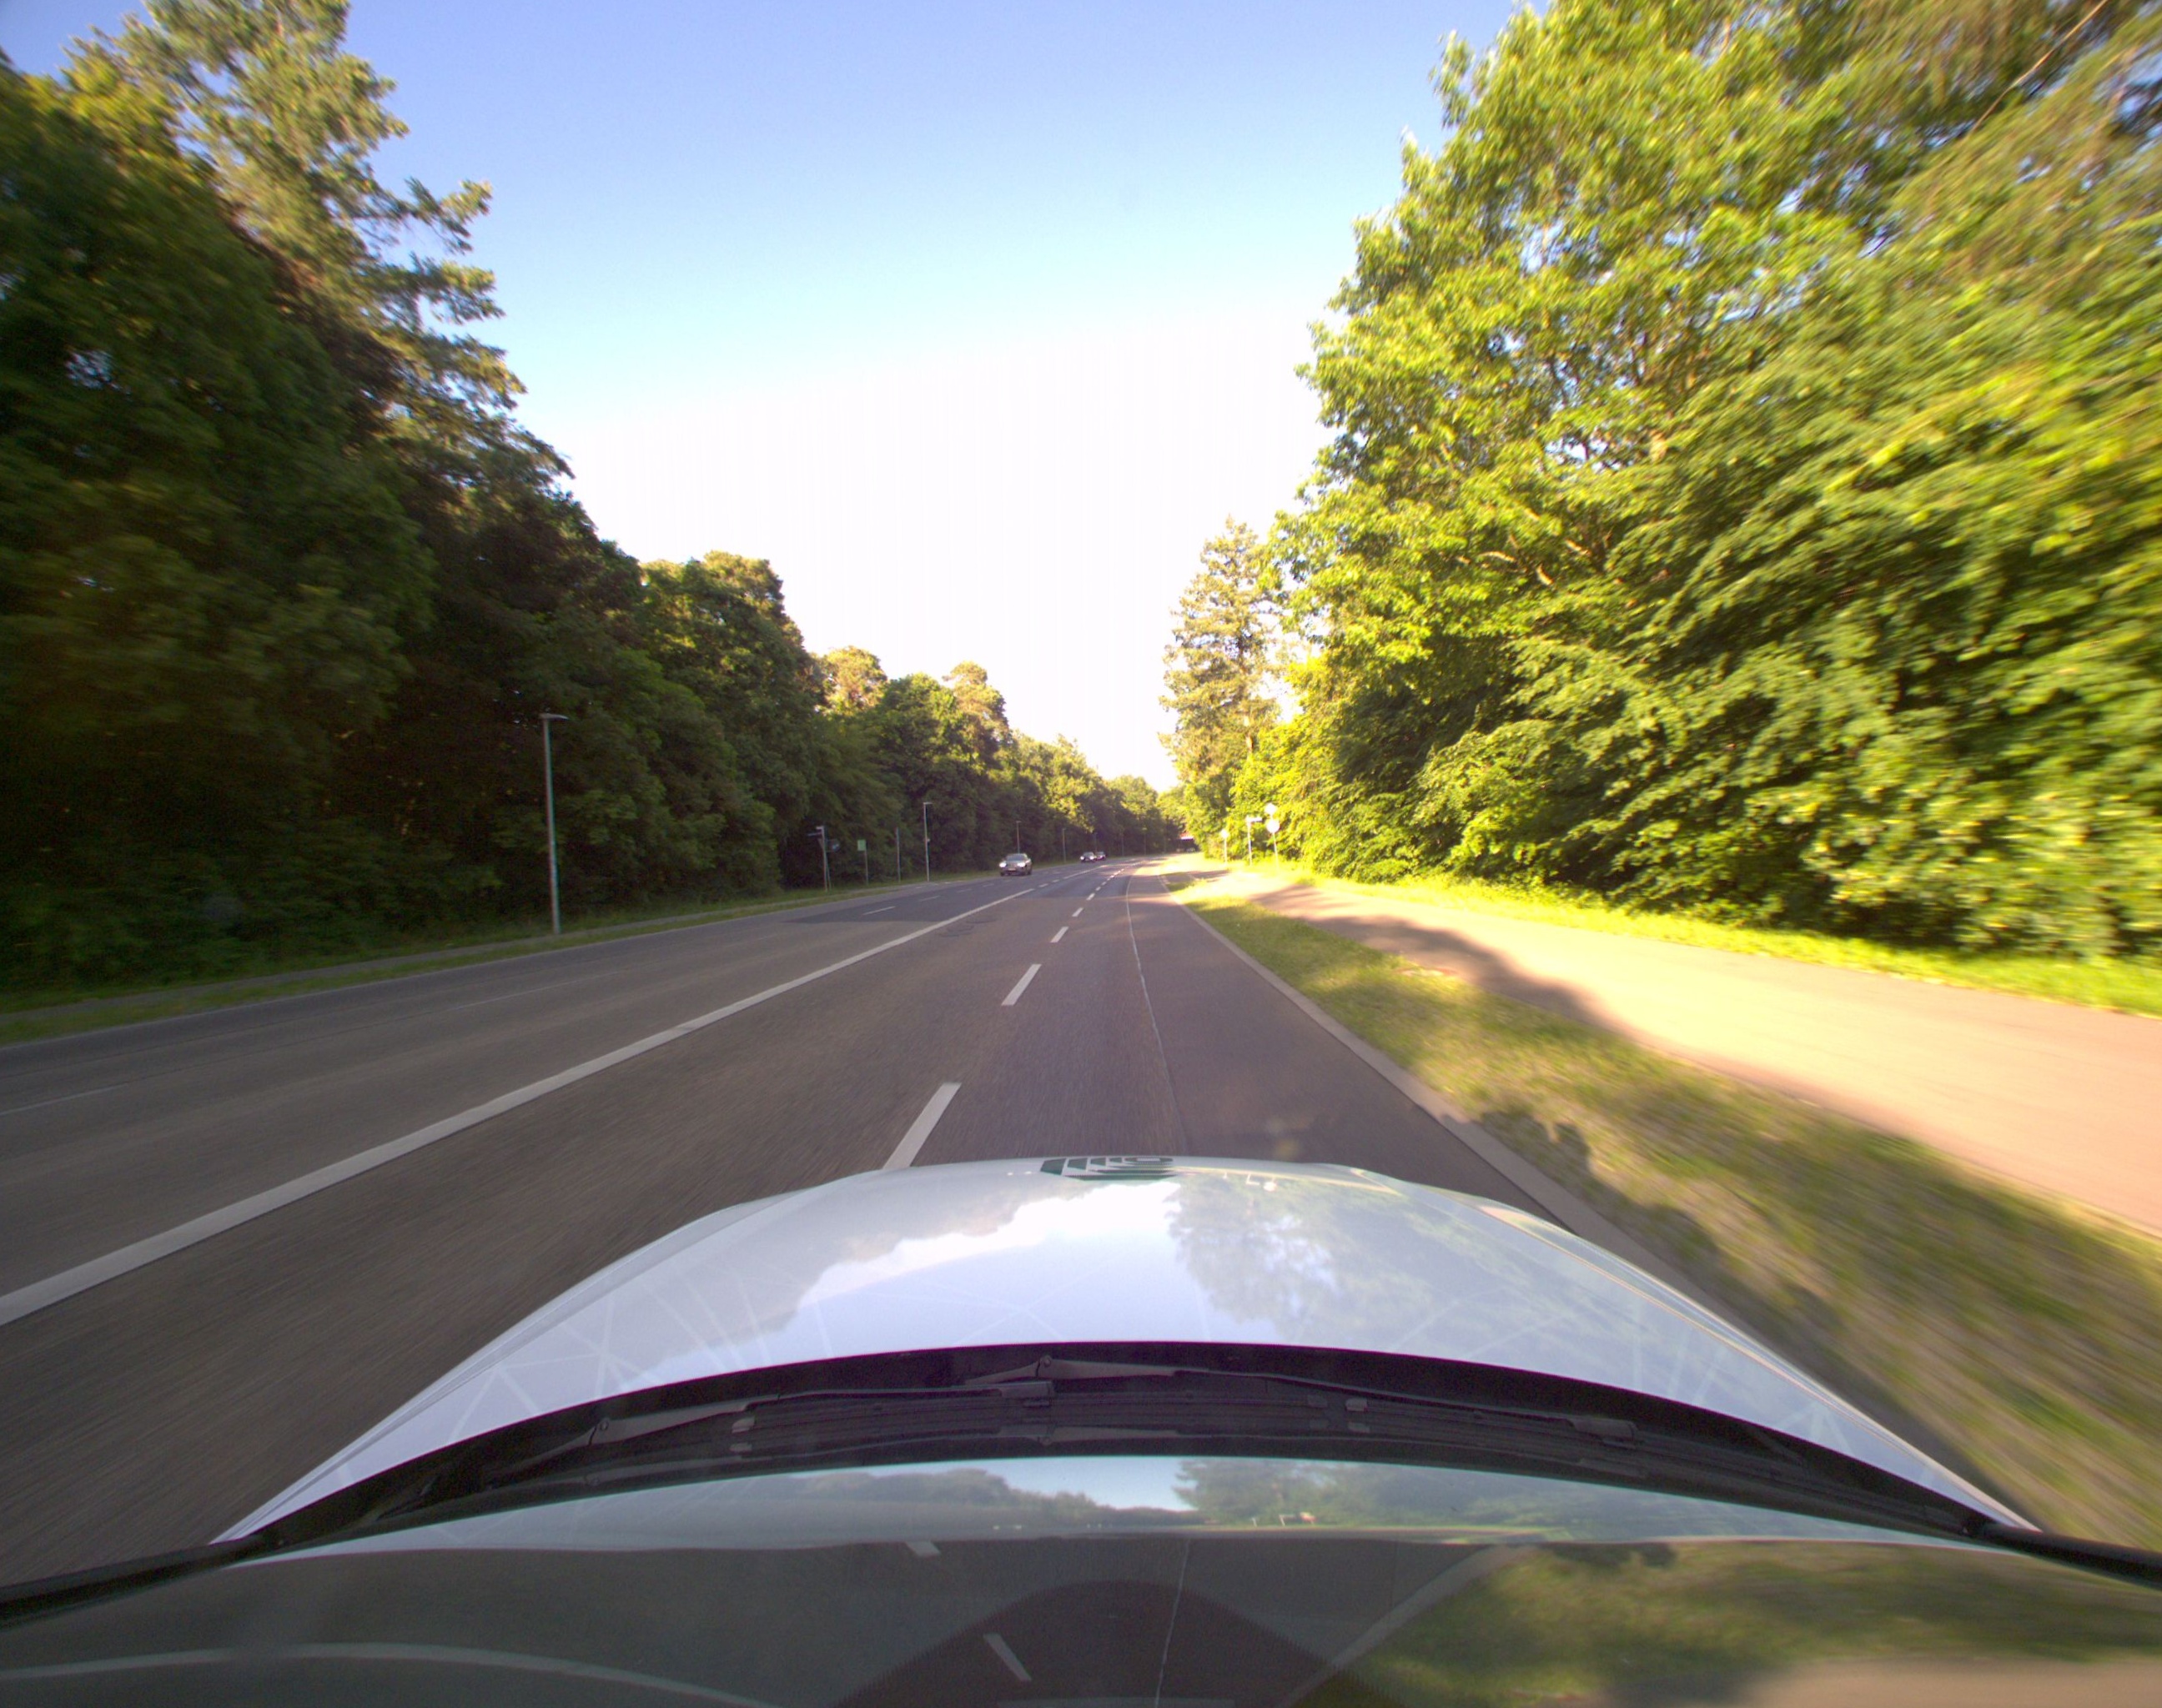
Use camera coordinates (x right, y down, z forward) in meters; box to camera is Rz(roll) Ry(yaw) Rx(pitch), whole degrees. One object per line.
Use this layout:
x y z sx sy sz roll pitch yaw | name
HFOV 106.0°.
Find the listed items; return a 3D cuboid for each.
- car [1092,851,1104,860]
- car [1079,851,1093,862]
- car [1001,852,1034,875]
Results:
2.809 0.247 133.572 1.650 1.480 4.176 -2 0 3 | car
0.721 0.342 114.706 1.731 1.457 4.002 0 0 3 | car
-4.714 0.686 60.823 1.888 1.610 4.453 0 0 3 | car
